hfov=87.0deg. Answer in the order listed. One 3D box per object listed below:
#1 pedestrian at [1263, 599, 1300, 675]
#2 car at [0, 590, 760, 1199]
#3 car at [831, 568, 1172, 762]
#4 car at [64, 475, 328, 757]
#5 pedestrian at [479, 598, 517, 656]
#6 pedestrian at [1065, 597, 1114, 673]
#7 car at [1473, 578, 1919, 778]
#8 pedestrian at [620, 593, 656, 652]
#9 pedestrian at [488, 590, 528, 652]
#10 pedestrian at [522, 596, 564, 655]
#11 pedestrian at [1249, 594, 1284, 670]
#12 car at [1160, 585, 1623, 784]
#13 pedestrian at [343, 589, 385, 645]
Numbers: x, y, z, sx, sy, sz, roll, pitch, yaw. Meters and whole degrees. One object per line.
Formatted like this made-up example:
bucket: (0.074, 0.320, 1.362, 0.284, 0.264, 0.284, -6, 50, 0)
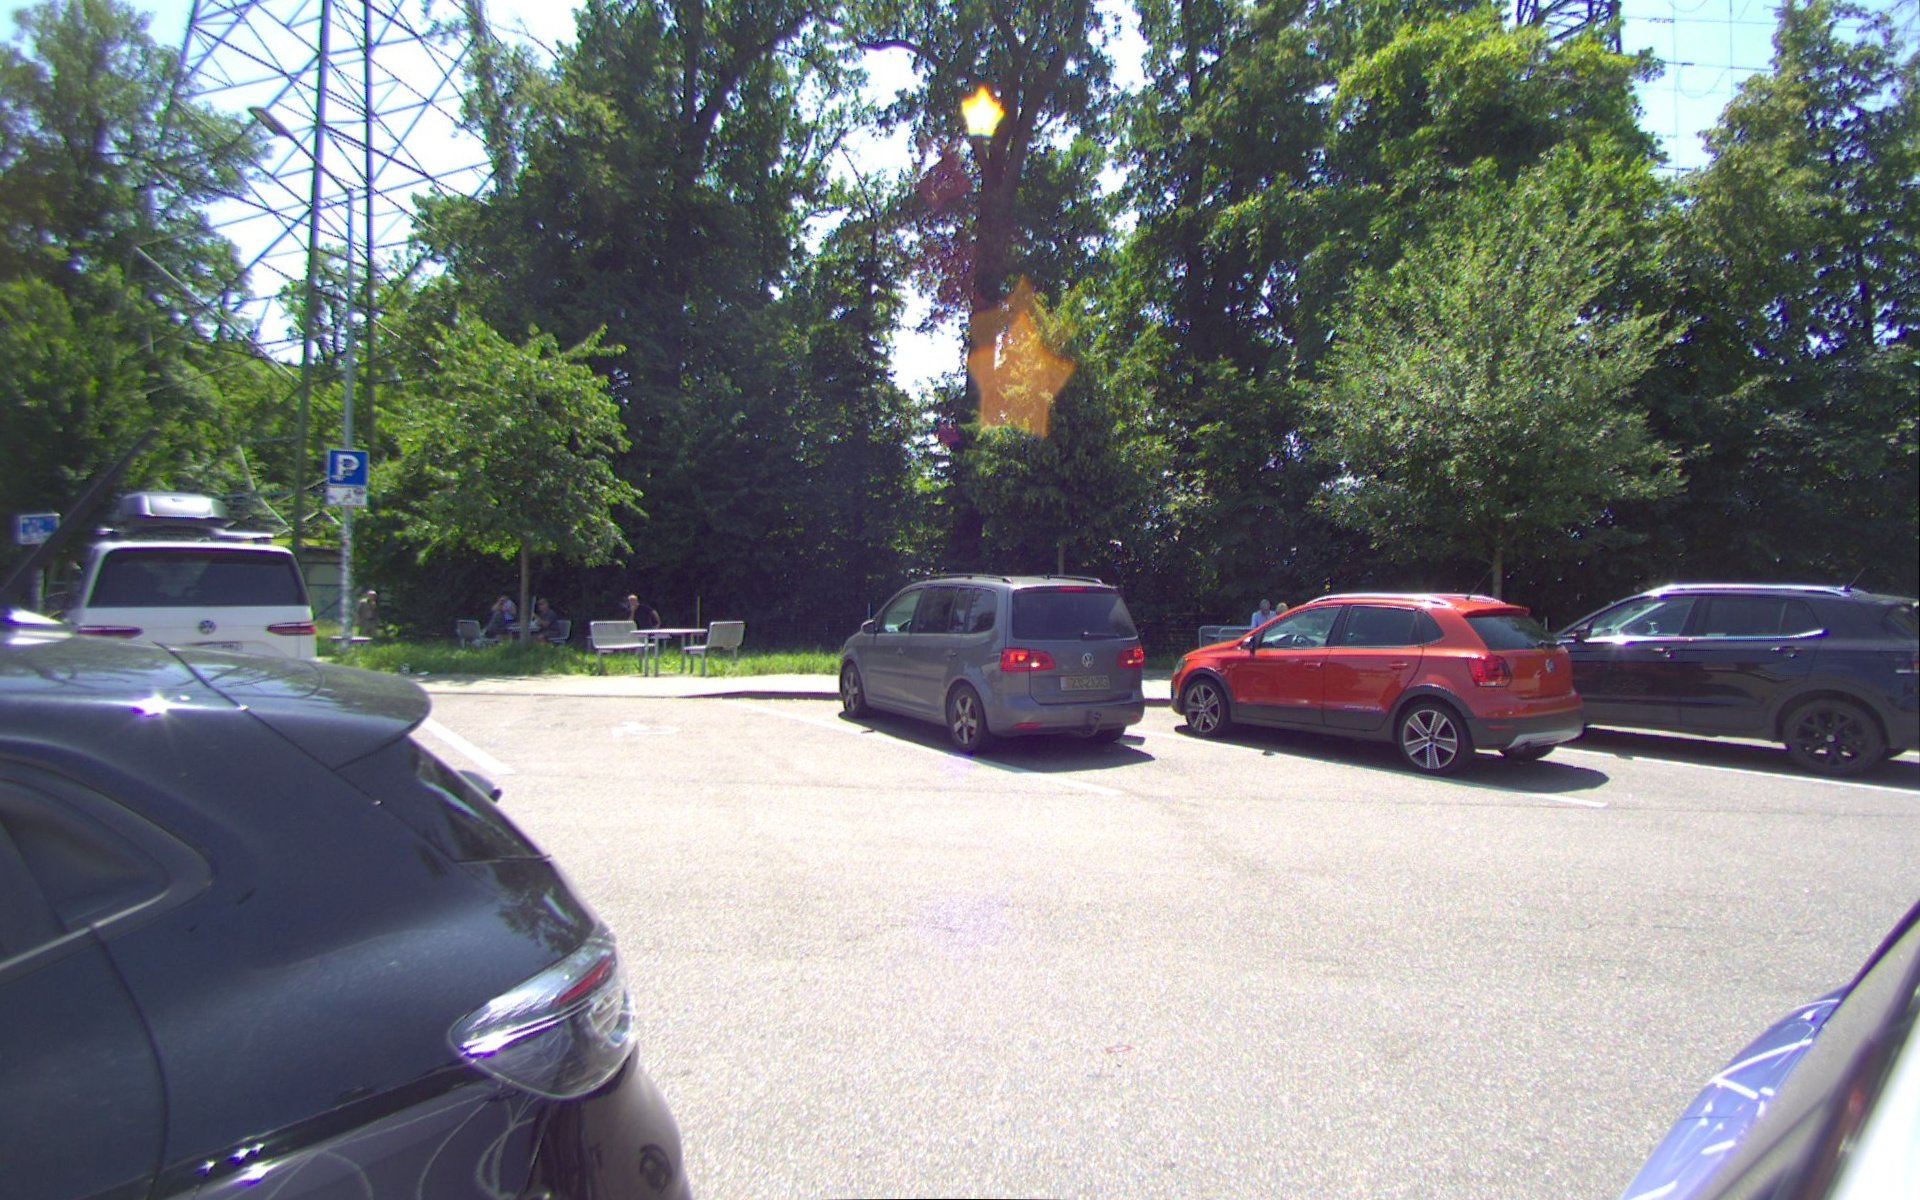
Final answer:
pedestrian: (5.683, 0.646, 17.895, 0.495, 1.316, 0.491, 1, -1, 0)
car: (-2.132, 0.723, 0.586, 1.615, 1.503, 3.706, 0, -1, 44)
car: (0.219, 0.506, 10.553, 1.717, 1.611, 3.961, 0, 1, -30)
car: (-8.070, 0.093, 10.625, 1.885, 2.353, 4.089, 0, 1, -40)
pedestrian: (-10.439, 0.601, 22.878, 0.630, 1.287, 0.579, 1, -1, -39)
pedestrian: (2.140, 0.579, 16.809, 0.660, 1.235, 0.682, 1, -2, -5)
car: (7.234, 0.583, 9.673, 1.727, 1.566, 3.806, 0, 1, -39)
pedestrian: (-6.766, 0.467, 21.276, 0.550, 1.229, 0.599, 1, -1, -1)
pedestrian: (-10.951, 0.493, 24.513, 0.722, 1.478, 0.669, 1, -1, -39)
pedestrian: (-9.719, 0.586, 23.576, 0.722, 1.343, 0.669, 1, -1, -39)
pedestrian: (5.765, 0.596, 19.019, 0.495, 1.393, 0.491, 1, -1, 0)
car: (3.856, 0.611, 9.650, 1.604, 1.476, 3.810, 0, 1, -34)
pedestrian: (-15.129, 0.429, 25.685, 0.602, 1.391, 0.702, 0, -1, 28)
